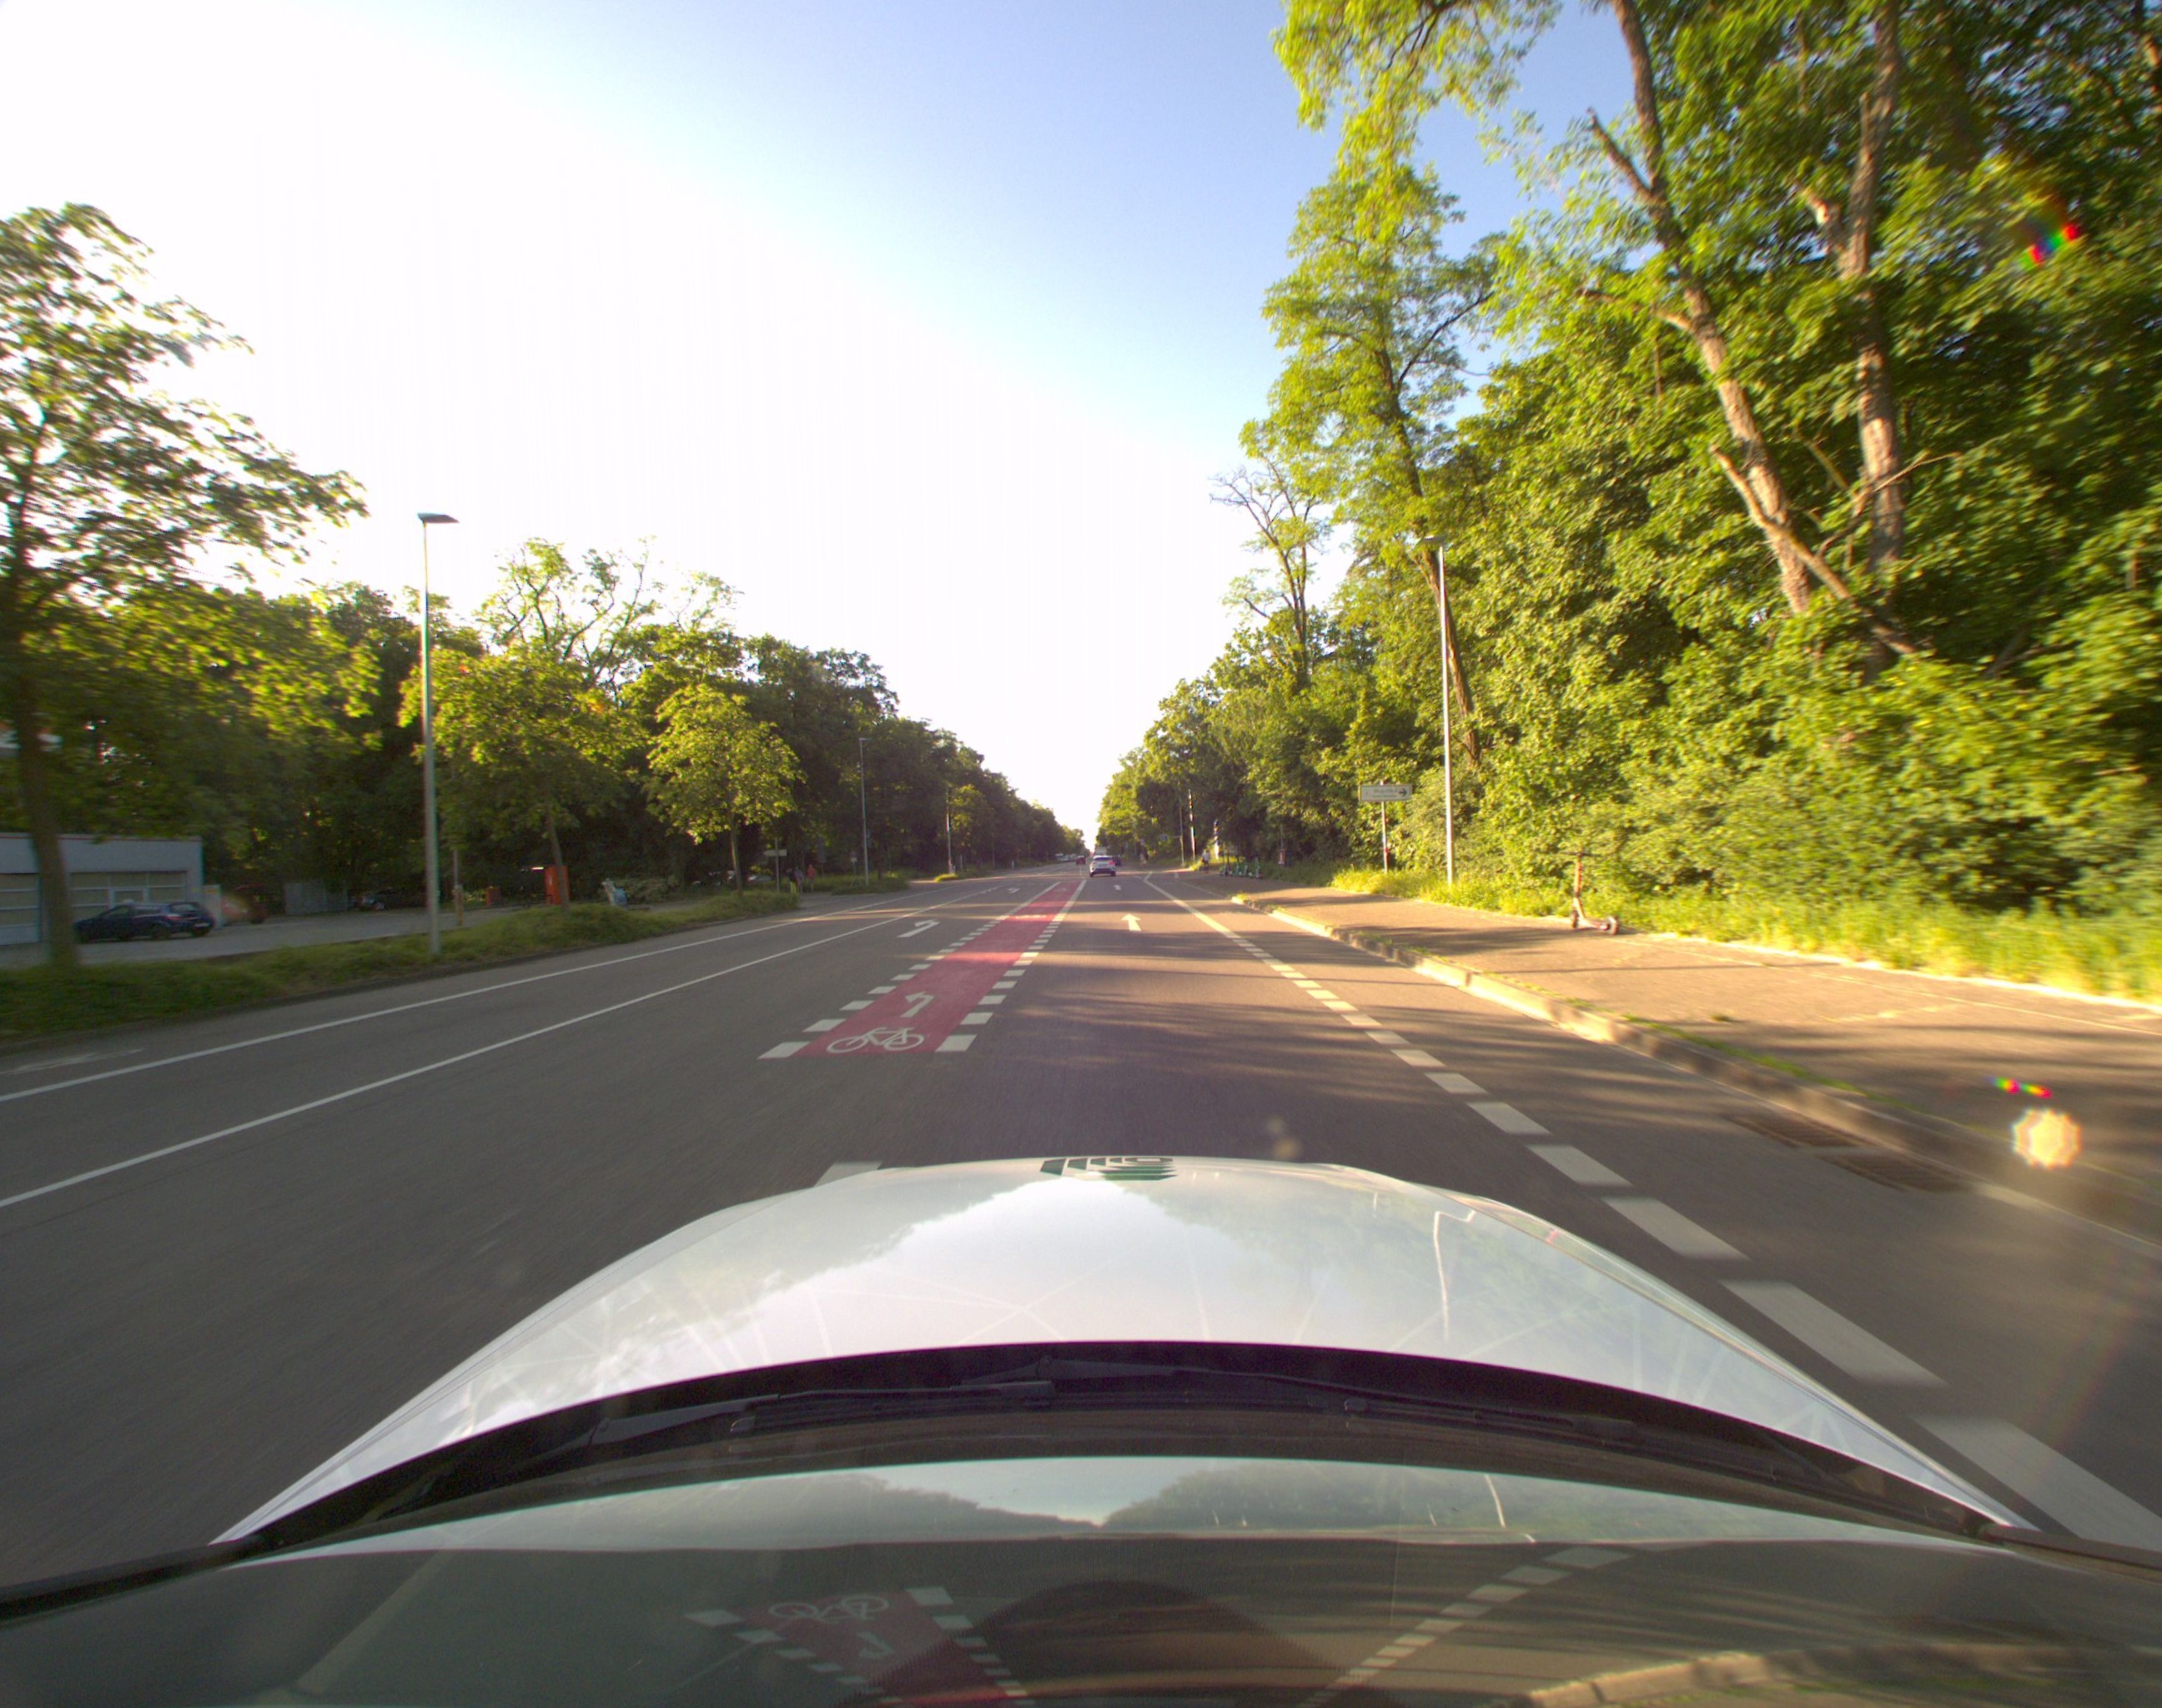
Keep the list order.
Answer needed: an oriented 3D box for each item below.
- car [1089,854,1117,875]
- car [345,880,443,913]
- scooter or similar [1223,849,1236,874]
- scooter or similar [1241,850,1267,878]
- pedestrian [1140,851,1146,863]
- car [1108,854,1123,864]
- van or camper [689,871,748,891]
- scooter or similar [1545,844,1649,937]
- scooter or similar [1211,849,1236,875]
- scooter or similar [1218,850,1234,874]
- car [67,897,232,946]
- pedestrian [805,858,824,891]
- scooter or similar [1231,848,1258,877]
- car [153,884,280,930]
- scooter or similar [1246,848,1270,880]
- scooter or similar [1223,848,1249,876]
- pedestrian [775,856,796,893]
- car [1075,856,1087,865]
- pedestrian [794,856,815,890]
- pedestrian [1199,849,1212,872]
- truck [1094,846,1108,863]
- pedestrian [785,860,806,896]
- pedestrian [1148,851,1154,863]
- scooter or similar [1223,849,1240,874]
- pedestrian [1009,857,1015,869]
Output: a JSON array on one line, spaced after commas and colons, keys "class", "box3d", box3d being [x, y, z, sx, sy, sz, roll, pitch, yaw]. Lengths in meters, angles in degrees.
[{"class": "car", "box3d": [1.535, 0.746, 58.621, 1.757, 1.459, 3.814, -1, 0, -2]}, {"class": "car", "box3d": [-43.945, 2.686, 52.189, 1.974, 1.820, 4.298, -3, 0, 31]}, {"class": "scooter or similar", "box3d": [8.760, 0.453, 48.201, 0.678, 1.423, 1.249, -3, 0, 10]}, {"class": "scooter or similar", "box3d": [8.407, 0.486, 39.530, 0.467, 1.306, 1.471, -3, 0, -20]}, {"class": "pedestrian", "box3d": [8.396, 0.438, 110.977, 0.696, 1.653, 0.876, -3, 0, 1]}, {"class": "car", "box3d": [5.099, 0.784, 120.197, 1.987, 1.327, 4.001, -3, 0, 1]}, {"class": "van or camper", "box3d": [-37.541, 2.786, 84.496, 1.974, 2.014, 5.451, -2, -3, 31]}, {"class": "scooter or similar", "box3d": [7.494, 0.497, 11.911, 0.531, 1.250, 1.542, -3, 0, 2]}, {"class": "scooter or similar", "box3d": [7.935, 0.457, 45.390, 0.683, 1.423, 1.673, -3, 0, -14]}, {"class": "scooter or similar", "box3d": [8.850, 0.459, 49.739, 0.679, 1.423, 1.682, -3, 0, 2]}, {"class": "car", "box3d": [-36.333, 2.611, 31.860, 3.979, 1.555, 1.896, -3, 0, -4]}, {"class": "pedestrian", "box3d": [-16.785, 1.304, 51.276, 0.710, 2.013, 0.752, -3, 0, 32]}, {"class": "scooter or similar", "box3d": [8.353, 0.428, 41.629, 0.682, 1.423, 1.674, -3, 0, -12]}, {"class": "car", "box3d": [-43.486, 2.651, 41.057, 3.980, 1.980, 1.997, -3, 0, -5]}, {"class": "scooter or similar", "box3d": [8.177, 0.434, 37.679, 0.679, 1.423, 1.682, -3, 0, 1]}, {"class": "scooter or similar", "box3d": [8.292, 0.436, 43.703, 0.683, 1.423, 1.673, -3, 0, -14]}, {"class": "pedestrian", "box3d": [-16.937, 1.173, 46.693, 0.710, 2.013, 0.801, -3, 0, 21]}, {"class": "car", "box3d": [0.034, 1.108, 147.026, 1.986, 1.519, 4.002, -3, 0, 2]}, {"class": "pedestrian", "box3d": [-17.126, 1.171, 50.397, 0.710, 2.013, 0.880, -3, 0, 32]}, {"class": "pedestrian", "box3d": [8.703, 0.469, 56.849, 0.751, 1.563, 0.804, -3, 0, 6]}, {"class": "truck", "box3d": [4.379, 0.072, 179.696, 2.790, 3.570, 8.033, -1, 0, 0]}, {"class": "pedestrian", "box3d": [-16.632, 1.407, 47.441, 0.710, 2.013, 0.801, -3, -1, 21]}, {"class": "pedestrian", "box3d": [9.502, 0.373, 110.958, 0.741, 1.599, 0.798, -3, 0, 1]}, {"class": "scooter or similar", "box3d": [8.613, 0.420, 46.690, 0.679, 1.423, 1.682, -3, 0, 2]}, {"class": "pedestrian", "box3d": [-12.135, 1.524, 143.361, 0.860, 2.013, 1.270, -3, 0, 3]}]
